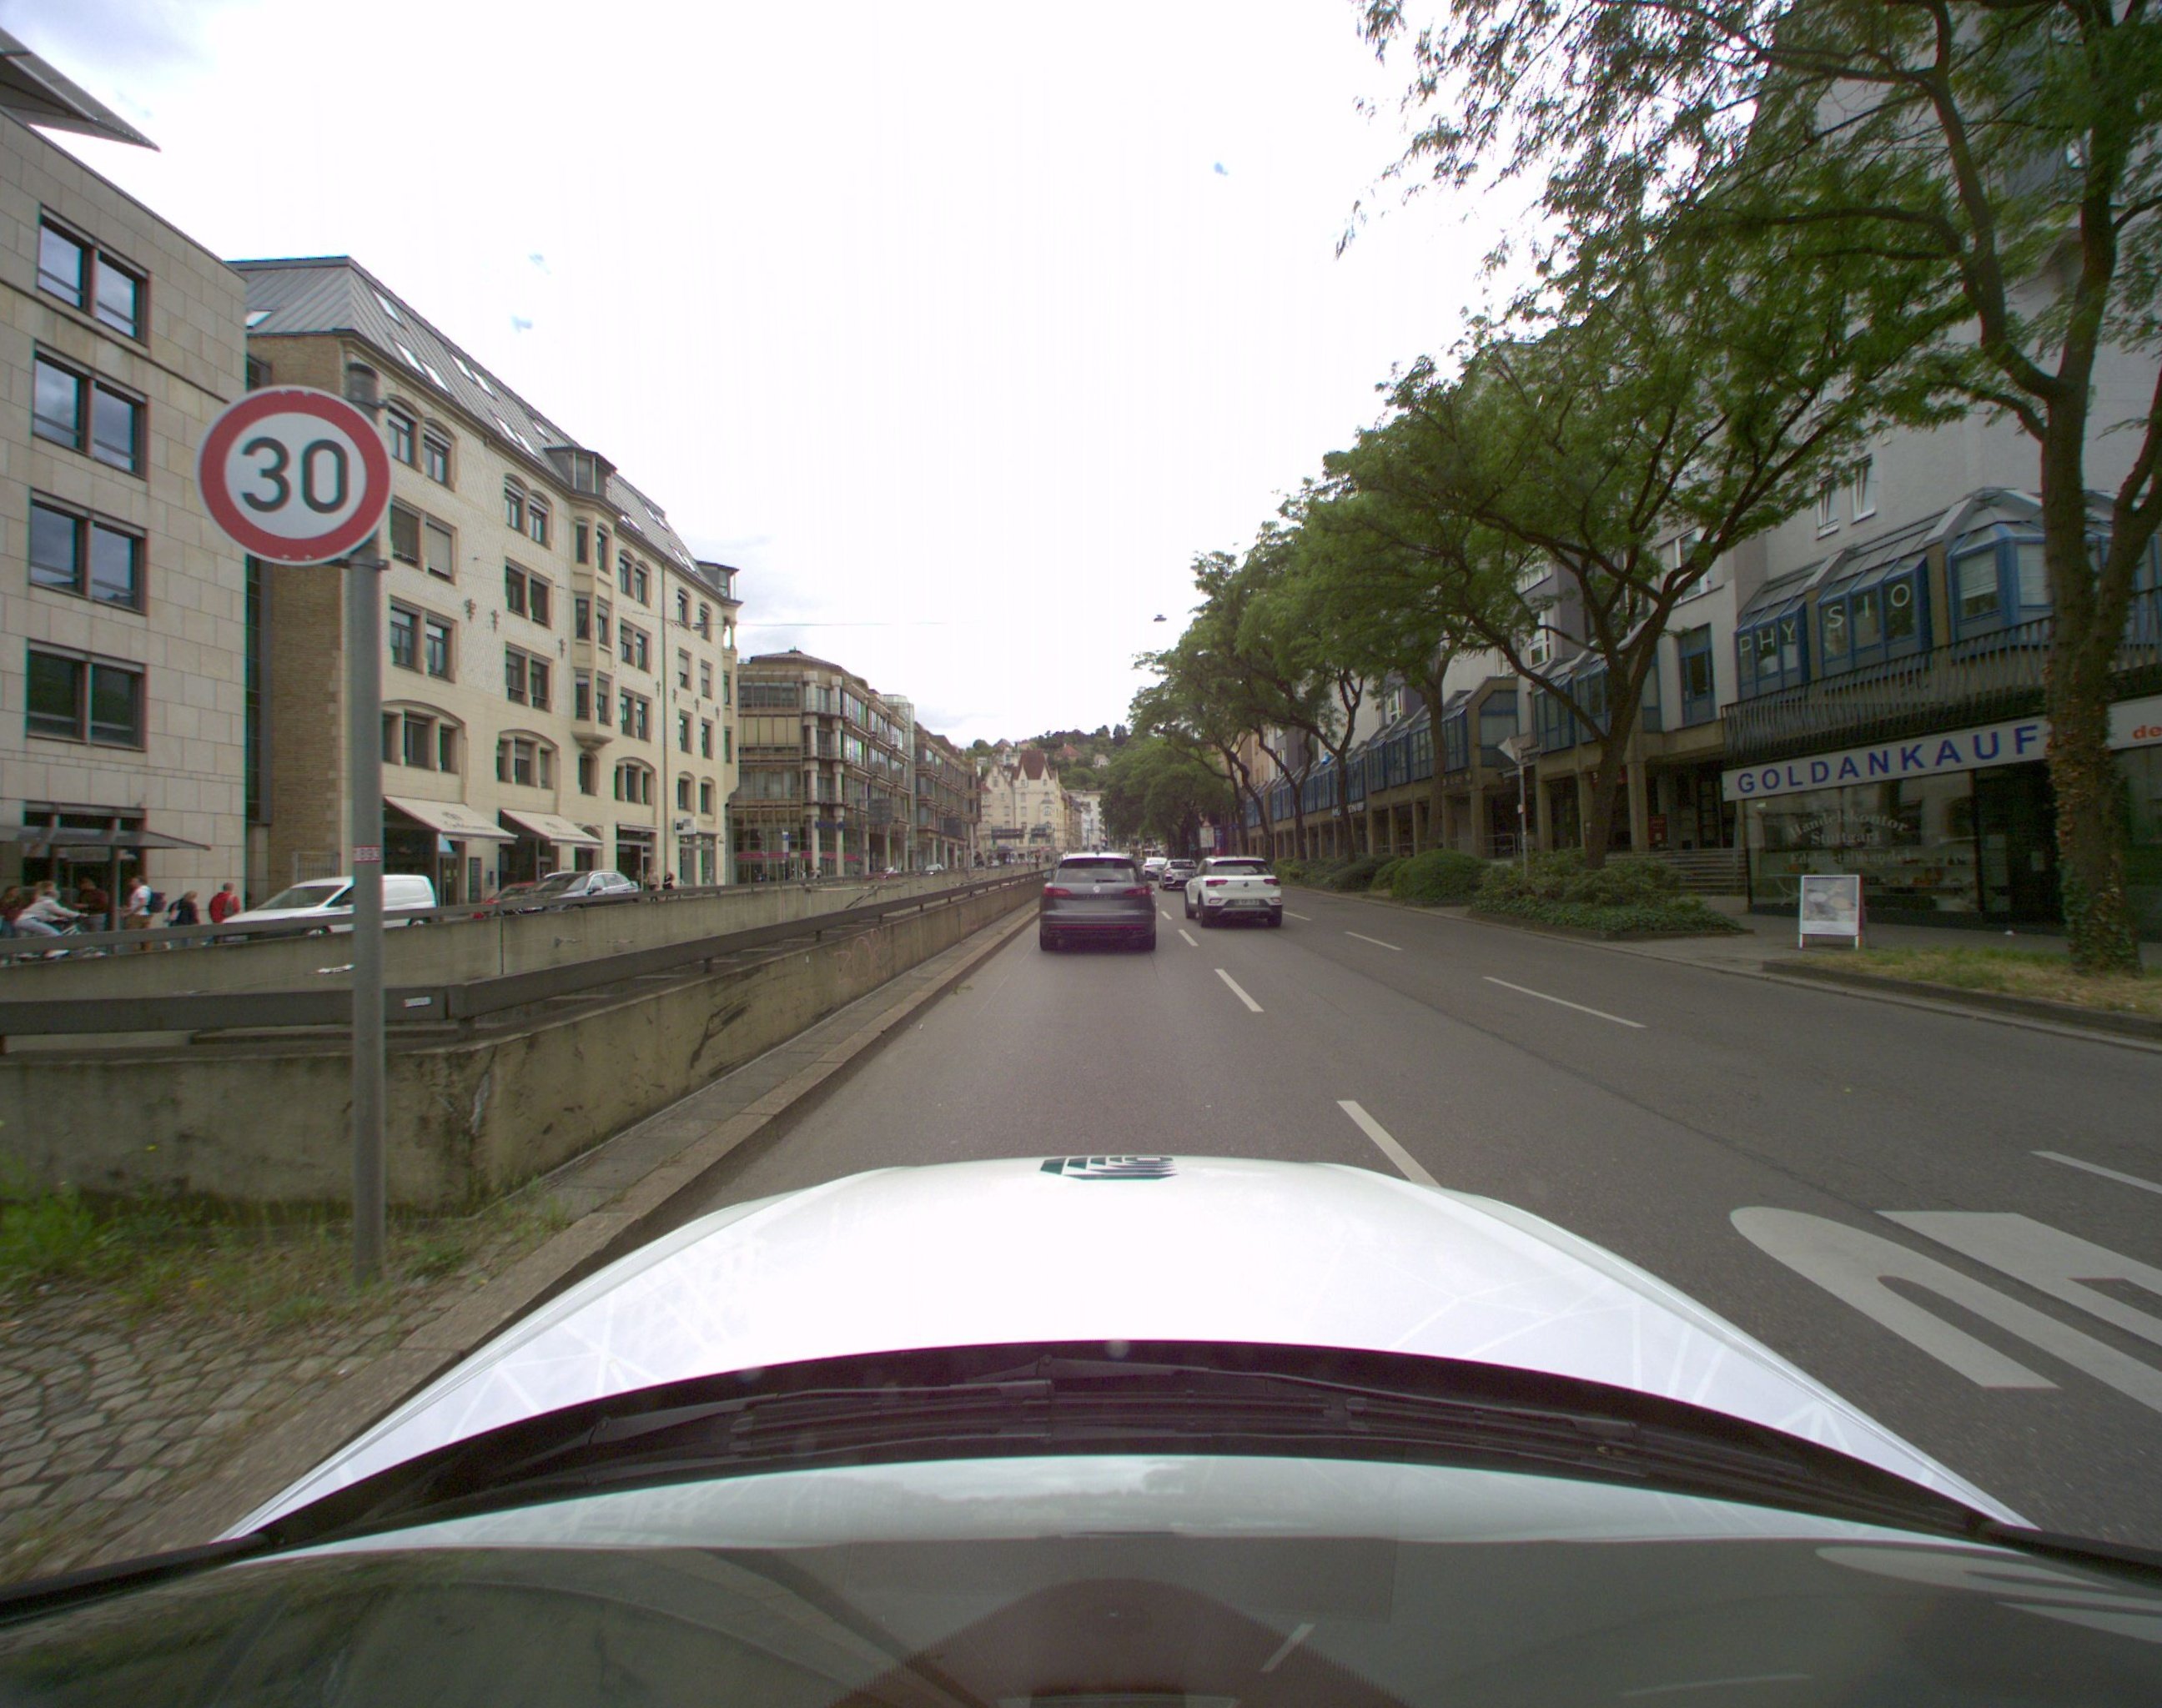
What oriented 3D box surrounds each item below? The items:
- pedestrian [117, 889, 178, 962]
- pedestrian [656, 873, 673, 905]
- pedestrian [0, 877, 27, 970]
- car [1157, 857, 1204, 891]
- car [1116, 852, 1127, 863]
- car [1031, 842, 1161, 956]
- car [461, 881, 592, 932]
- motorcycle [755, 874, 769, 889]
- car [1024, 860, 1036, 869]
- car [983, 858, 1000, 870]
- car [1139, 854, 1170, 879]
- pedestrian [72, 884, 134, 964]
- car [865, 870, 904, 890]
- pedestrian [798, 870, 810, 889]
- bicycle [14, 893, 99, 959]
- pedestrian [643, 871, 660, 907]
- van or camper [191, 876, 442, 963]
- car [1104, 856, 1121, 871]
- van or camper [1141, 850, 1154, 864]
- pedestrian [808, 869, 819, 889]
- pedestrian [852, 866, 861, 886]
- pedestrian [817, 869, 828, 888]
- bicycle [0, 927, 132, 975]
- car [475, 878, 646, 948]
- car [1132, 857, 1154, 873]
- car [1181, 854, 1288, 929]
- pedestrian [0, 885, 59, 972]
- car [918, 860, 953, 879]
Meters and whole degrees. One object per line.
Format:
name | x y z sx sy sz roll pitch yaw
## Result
pedestrian | -21.036 1.591 18.364 0.550 1.577 0.680 -2 -1 1
pedestrian | -20.974 1.760 41.027 0.478 1.537 0.583 -2 0 0
pedestrian | -22.274 1.420 16.610 0.614 1.875 0.680 -2 -1 1
car | 4.620 0.892 38.239 1.826 1.432 4.149 -1 1 2
car | 7.294 0.641 147.443 1.824 1.874 4.875 -3 -1 3
car | 0.267 0.712 14.918 1.963 1.695 4.224 -3 0 1
car | -18.098 1.659 26.782 1.781 1.406 3.583 -2 0 1
motorcycle | -29.034 2.515 74.111 0.791 1.257 1.932 -2 0 -10
car | -10.349 2.065 166.082 1.986 1.768 4.282 -2 0 2
car | -14.494 1.628 132.375 1.986 1.768 4.282 -2 0 2
car | 4.750 0.822 53.047 1.825 1.517 3.769 -2 -1 2
pedestrian | -22.211 1.566 18.499 0.550 1.753 0.680 -2 -1 1
car | -16.202 2.130 67.340 1.987 1.464 4.885 -2 0 0
pedestrian | -22.979 2.104 67.646 0.699 1.544 0.845 -2 -1 -6
bicycle | -20.776 1.440 16.527 0.630 1.260 0.844 -2 -1 -1
pedestrian | -21.611 1.737 40.960 0.477 1.757 0.583 -2 0 1
van or camper | -18.489 1.499 20.068 1.861 1.751 4.487 -2 0 1
car | 3.631 1.108 95.460 1.826 1.567 3.767 -3 -1 1
van or camper | 15.096 0.631 185.455 2.617 3.178 5.807 -2 0 2
pedestrian | -22.243 2.071 67.704 0.699 1.544 0.845 -2 -1 -6
pedestrian | -20.878 2.022 75.791 0.530 1.793 0.695 1 -1 3
pedestrian | -21.512 2.043 67.783 0.699 1.544 0.845 -2 -1 -6
bicycle | -20.754 1.948 16.563 0.630 0.762 1.957 -2 0 -1
car | -13.971 1.513 22.225 1.914 1.527 4.536 -2 0 -3
car | 5.688 0.985 75.191 1.825 1.363 3.767 -3 -1 1
car | 3.470 0.782 19.069 1.791 1.545 3.936 1 0 1
pedestrian | -21.550 1.501 16.604 0.552 1.717 0.680 -1 -1 2
car | -13.365 1.389 75.160 1.984 1.585 4.893 -2 0 4
